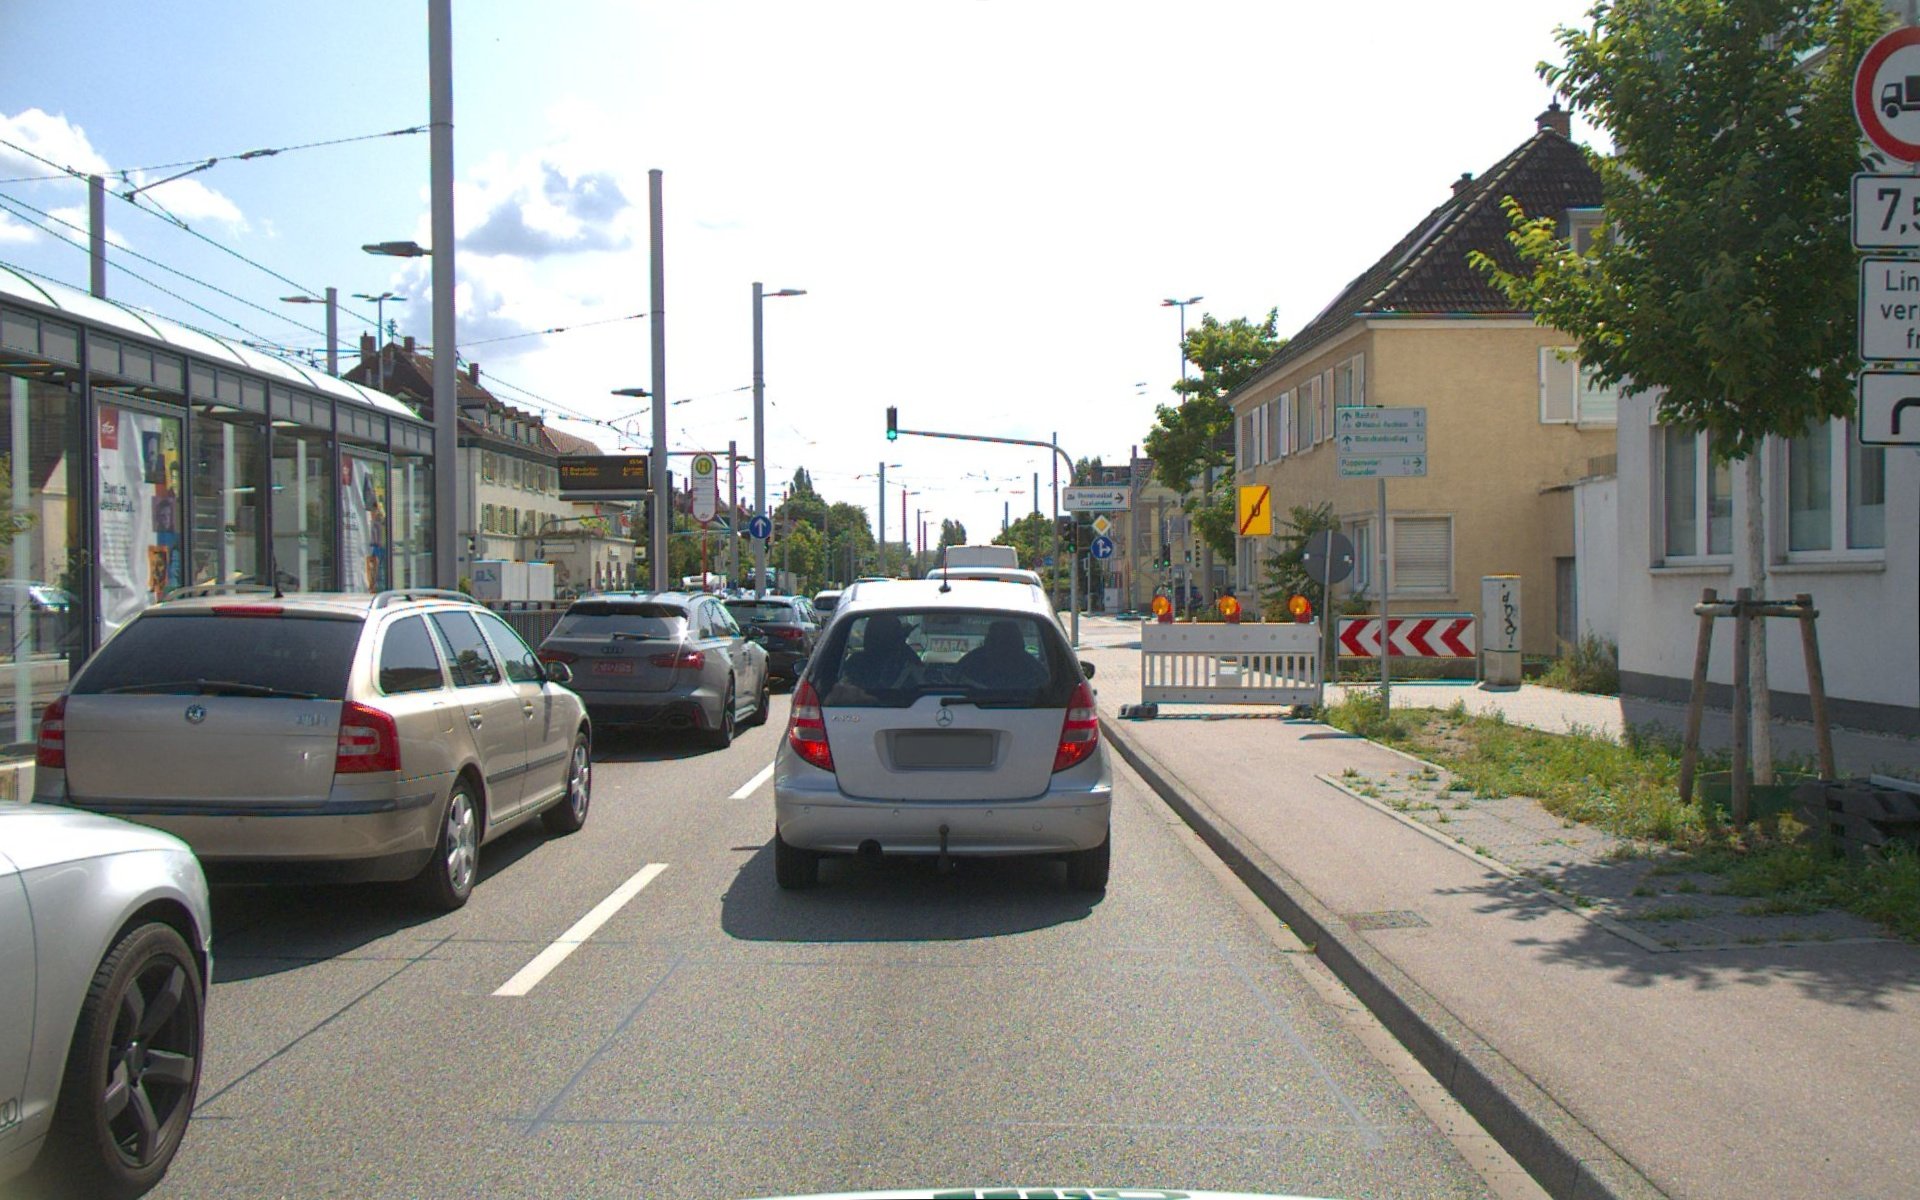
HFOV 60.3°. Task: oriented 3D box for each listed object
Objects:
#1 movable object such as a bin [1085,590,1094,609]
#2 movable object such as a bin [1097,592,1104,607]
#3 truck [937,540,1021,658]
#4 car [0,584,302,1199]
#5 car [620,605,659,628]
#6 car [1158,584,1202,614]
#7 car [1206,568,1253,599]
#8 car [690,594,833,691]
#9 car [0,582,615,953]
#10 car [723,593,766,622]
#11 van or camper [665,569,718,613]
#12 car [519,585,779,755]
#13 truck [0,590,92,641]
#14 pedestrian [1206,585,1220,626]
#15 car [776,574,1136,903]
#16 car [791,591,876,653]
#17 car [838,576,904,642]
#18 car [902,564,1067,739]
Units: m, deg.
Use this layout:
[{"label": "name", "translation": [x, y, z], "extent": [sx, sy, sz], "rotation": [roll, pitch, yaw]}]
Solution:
[{"label": "movable object such as a bin", "translation": [8.010, -0.025, 102.096], "extent": [0.501, 1.124, 0.855], "rotation": [0, 0, 1]}, {"label": "movable object such as a bin", "translation": [9.143, -0.026, 107.613], "extent": [0.458, 0.963, 0.558], "rotation": [-1, 0, 0]}, {"label": "truck", "translation": [0.384, -0.018, 39.762], "extent": [1.815, 2.597, 5.854], "rotation": [1, 0, -1]}, {"label": "car", "translation": [-2.782, 0.698, 2.464], "extent": [1.758, 1.497, 4.721], "rotation": [1, 0, -1]}, {"label": "car", "translation": [-19.389, 0.991, 100.262], "extent": [1.650, 1.375, 4.343], "rotation": [1, 0, -2]}, {"label": "car", "translation": [12.089, -0.047, 91.182], "extent": [1.952, 1.624, 4.131], "rotation": [1, 0, 1]}, {"label": "car", "translation": [14.872, -0.897, 91.348], "extent": [1.952, 1.624, 4.131], "rotation": [1, 0, 1]}, {"label": "car", "translation": [-3.119, 0.638, 26.798], "extent": [1.815, 1.413, 4.513], "rotation": [1, 0, -1]}, {"label": "car", "translation": [-3.086, 0.688, 8.754], "extent": [1.696, 1.474, 4.122], "rotation": [1, 0, -1]}, {"label": "car", "translation": [-14.596, 0.480, 112.359], "extent": [1.952, 1.807, 4.880], "rotation": [-2, 0, 3]}, {"label": "van or camper", "translation": [-19.034, -0.619, 117.491], "extent": [2.276, 2.981, 7.755], "rotation": [-1, 0, 1]}, {"label": "car", "translation": [-3.051, 0.629, 17.189], "extent": [1.877, 1.503, 4.561], "rotation": [1, 0, -1]}, {"label": "truck", "translation": [-38.345, 0.595, 66.502], "extent": [6.055, 1.955, 1.690], "rotation": [1, 0, 3]}, {"label": "pedestrian", "translation": [10.343, 0.235, 67.663], "extent": [0.535, 1.672, 0.401], "rotation": [1, -1, 5]}, {"label": "car", "translation": [-0.065, 0.668, 9.885], "extent": [1.695, 1.543, 4.015], "rotation": [1, 0, -2]}, {"label": "car", "translation": [-3.027, 0.517, 40.198], "extent": [1.815, 1.413, 3.917], "rotation": [1, 0, -1]}, {"label": "car", "translation": [-2.652, 0.273, 50.200], "extent": [1.815, 1.875, 3.917], "rotation": [1, 0, -1]}, {"label": "car", "translation": [0.210, 0.544, 19.265], "extent": [1.695, 1.793, 4.015], "rotation": [1, 0, -2]}]
